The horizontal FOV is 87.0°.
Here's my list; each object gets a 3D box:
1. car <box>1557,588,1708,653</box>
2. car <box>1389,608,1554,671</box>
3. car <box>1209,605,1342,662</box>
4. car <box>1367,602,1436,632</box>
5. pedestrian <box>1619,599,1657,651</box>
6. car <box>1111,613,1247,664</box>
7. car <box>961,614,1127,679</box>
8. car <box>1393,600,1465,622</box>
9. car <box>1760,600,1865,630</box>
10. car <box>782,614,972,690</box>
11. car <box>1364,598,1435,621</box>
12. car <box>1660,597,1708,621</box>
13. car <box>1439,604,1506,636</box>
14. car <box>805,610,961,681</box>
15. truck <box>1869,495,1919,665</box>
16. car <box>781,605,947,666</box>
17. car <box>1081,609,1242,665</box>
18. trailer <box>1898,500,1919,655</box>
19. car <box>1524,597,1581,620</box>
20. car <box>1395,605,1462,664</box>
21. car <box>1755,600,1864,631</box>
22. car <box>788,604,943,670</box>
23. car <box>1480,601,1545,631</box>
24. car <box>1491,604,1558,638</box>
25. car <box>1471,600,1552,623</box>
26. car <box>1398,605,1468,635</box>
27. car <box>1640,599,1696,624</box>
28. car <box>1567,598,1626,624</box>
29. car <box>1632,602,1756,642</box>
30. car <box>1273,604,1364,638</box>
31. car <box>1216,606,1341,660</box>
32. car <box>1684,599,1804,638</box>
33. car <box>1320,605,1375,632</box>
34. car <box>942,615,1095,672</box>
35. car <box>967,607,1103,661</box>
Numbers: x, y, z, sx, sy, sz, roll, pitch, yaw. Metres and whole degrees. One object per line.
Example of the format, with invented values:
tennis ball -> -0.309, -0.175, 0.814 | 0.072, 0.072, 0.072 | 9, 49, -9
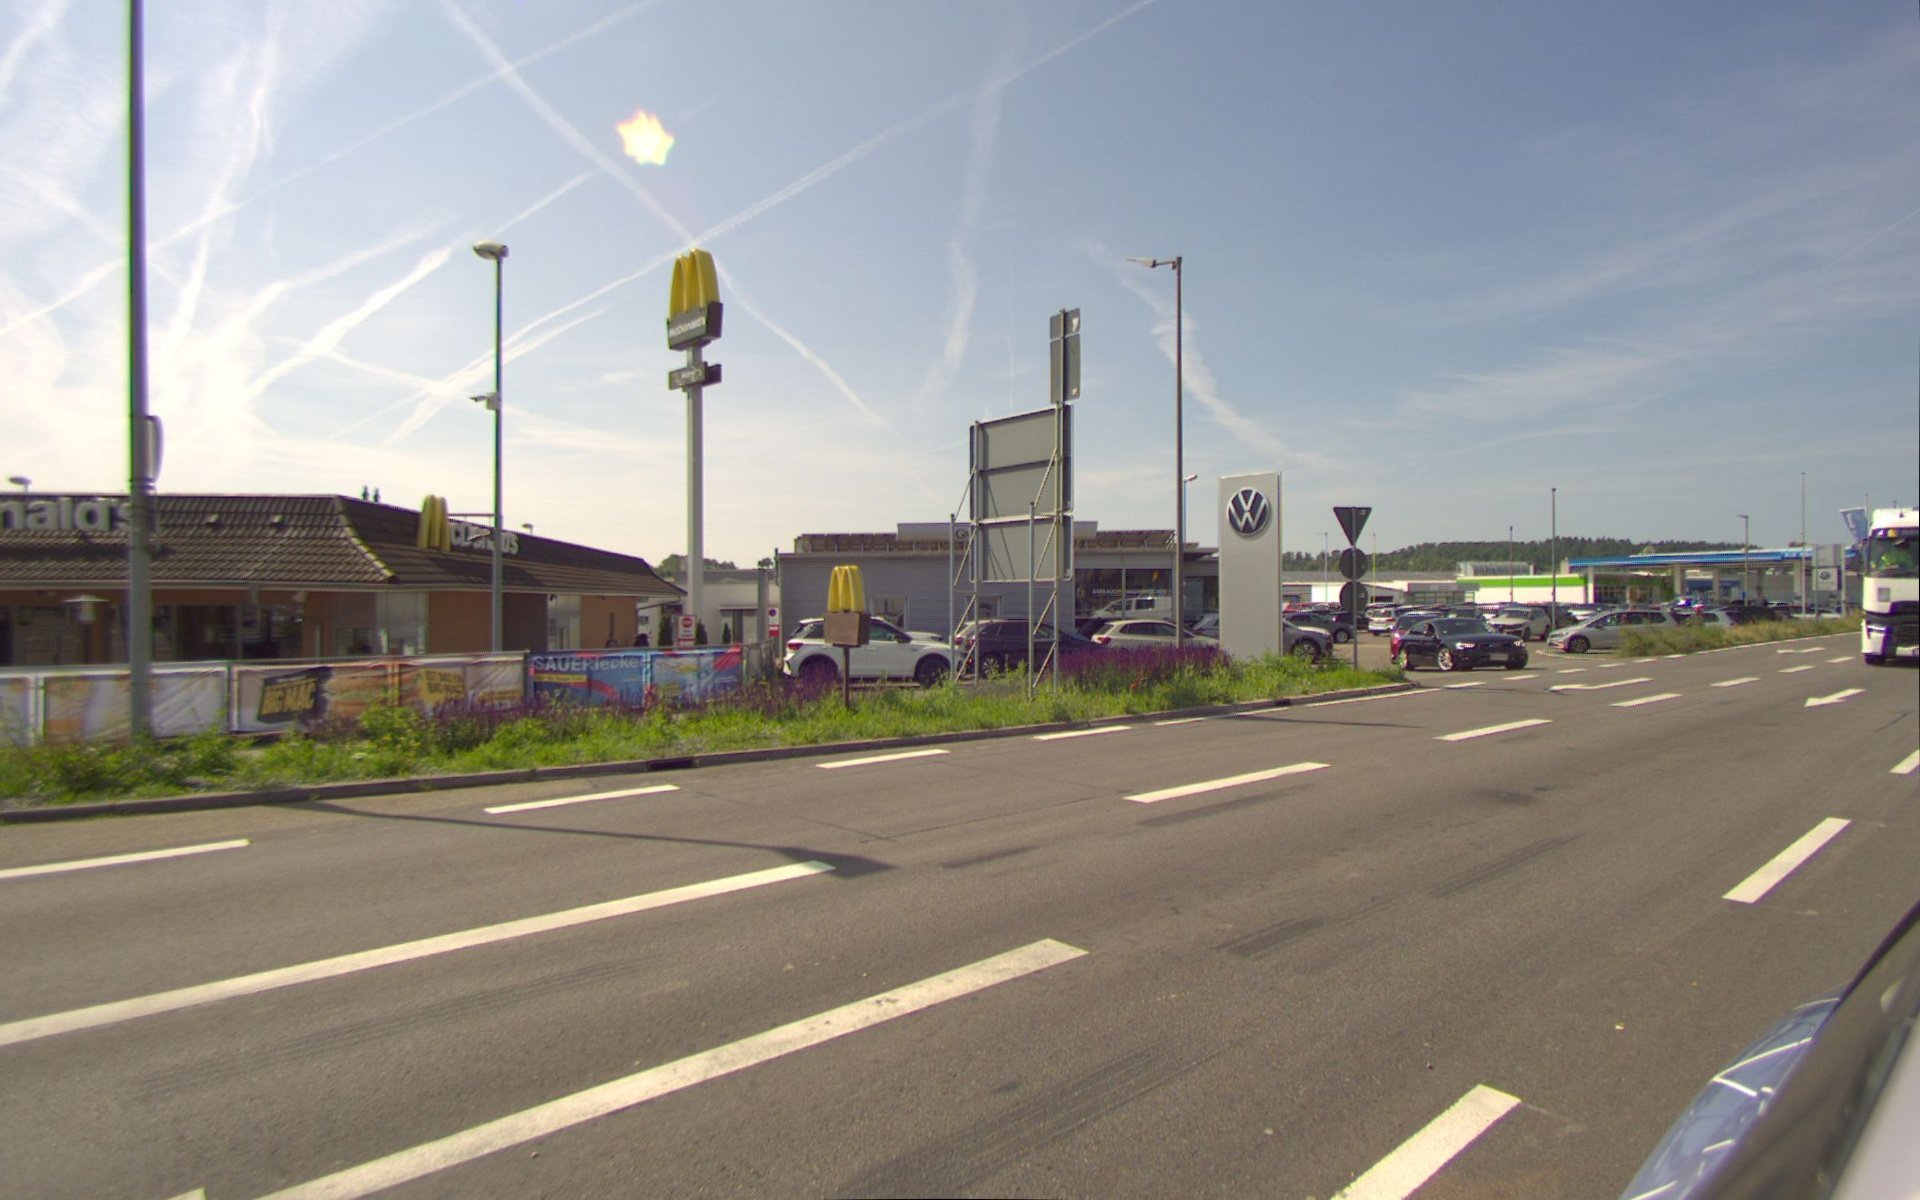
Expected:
car -> 24.601, 0.698, 37.194 | 4.295, 2.240, 1.752 | 1, 0, 20
car -> 12.853, 1.021, 25.830 | 1.931, 1.350, 4.808 | -4, -3, 4
car -> 10.150, 1.035, 32.615 | 3.974, 1.692, 1.765 | 1, 0, 20
car -> 27.066, 1.032, 62.003 | 4.452, 1.751, 1.823 | 0, 1, -35
pedestrian -> 25.593, 0.930, 38.197 | 0.975, 1.936, 0.740 | 1, 0, 16
car -> 6.736, 1.171, 31.355 | 3.720, 1.495, 1.752 | 0, 0, -5
car -> 2.113, 1.184, 26.231 | 4.008, 1.551, 1.778 | 0, 0, -5
car -> 31.866, 0.742, 68.716 | 4.390, 1.449, 1.827 | 0, 0, -19
car -> 50.981, 0.861, 60.624 | 4.490, 1.675, 1.761 | 1, 0, 25
car -> -1.890, 1.168, 23.105 | 4.149, 1.596, 1.863 | 0, 0, -5
car -> 30.842, 0.667, 71.042 | 4.442, 1.603, 1.827 | 0, 0, -19
car -> 55.624, 0.665, 77.746 | 4.179, 1.734, 1.714 | 0, 0, -35
car -> 28.312, 1.059, 55.819 | 4.463, 1.675, 1.964 | 0, 1, -44
car -> -1.960, 1.122, 25.786 | 3.832, 1.692, 1.778 | 0, 0, -5
truck -> 25.310, -0.470, 25.720 | 5.937, 4.037, 2.645 | 0, 0, -42
car -> -2.827, 1.037, 30.024 | 4.722, 1.692, 1.914 | 0, 0, -5
car -> 5.739, 1.049, 29.117 | 4.179, 1.510, 1.751 | 0, 0, -5
trailer -> 31.227, -0.624, 30.982 | 11.096, 4.281, 2.611 | 0, 0, -42
car -> 44.146, 0.628, 75.413 | 4.448, 1.675, 1.777 | 0, 0, -32
car -> 14.701, 1.039, 31.920 | 1.756, 1.675, 4.044 | -2, 0, 24
car -> 49.054, 0.867, 58.535 | 4.488, 1.675, 1.762 | 1, 0, 24
car -> -2.587, 0.987, 27.791 | 4.087, 1.692, 1.778 | 0, 0, -5
car -> 32.765, 0.915, 59.932 | 4.351, 1.675, 1.775 | 0, 1, -38
car -> 30.142, 1.077, 53.982 | 4.633, 1.675, 1.904 | 0, 1, -45
car -> 37.426, 0.759, 68.816 | 1.910, 1.477, 4.544 | 0, 1, -29
car -> 27.692, 1.151, 59.213 | 4.452, 1.675, 1.776 | 0, 1, -36
car -> 48.248, 0.765, 68.944 | 4.452, 1.600, 1.776 | 0, 1, -35
car -> 42.661, 0.702, 67.840 | 4.452, 1.675, 1.776 | 0, 1, -35
car -> 31.131, 0.900, 43.058 | 3.953, 1.578, 1.700 | 1, 0, 22
car -> 17.787, 1.048, 50.351 | 4.008, 1.629, 1.690 | 1, -1, 8
car -> 10.901, 1.096, 34.886 | 3.939, 1.692, 1.913 | 1, 0, 13
car -> 35.869, 0.839, 46.424 | 3.946, 1.675, 1.766 | 1, 0, 17
car -> 25.935, 1.232, 67.644 | 4.463, 1.675, 1.771 | 0, 1, -45
car -> 1.581, 1.203, 28.455 | 4.072, 1.468, 1.798 | 0, 0, -5
car -> 2.222, 0.998, 30.710 | 3.881, 1.537, 1.778 | 0, 0, -5
